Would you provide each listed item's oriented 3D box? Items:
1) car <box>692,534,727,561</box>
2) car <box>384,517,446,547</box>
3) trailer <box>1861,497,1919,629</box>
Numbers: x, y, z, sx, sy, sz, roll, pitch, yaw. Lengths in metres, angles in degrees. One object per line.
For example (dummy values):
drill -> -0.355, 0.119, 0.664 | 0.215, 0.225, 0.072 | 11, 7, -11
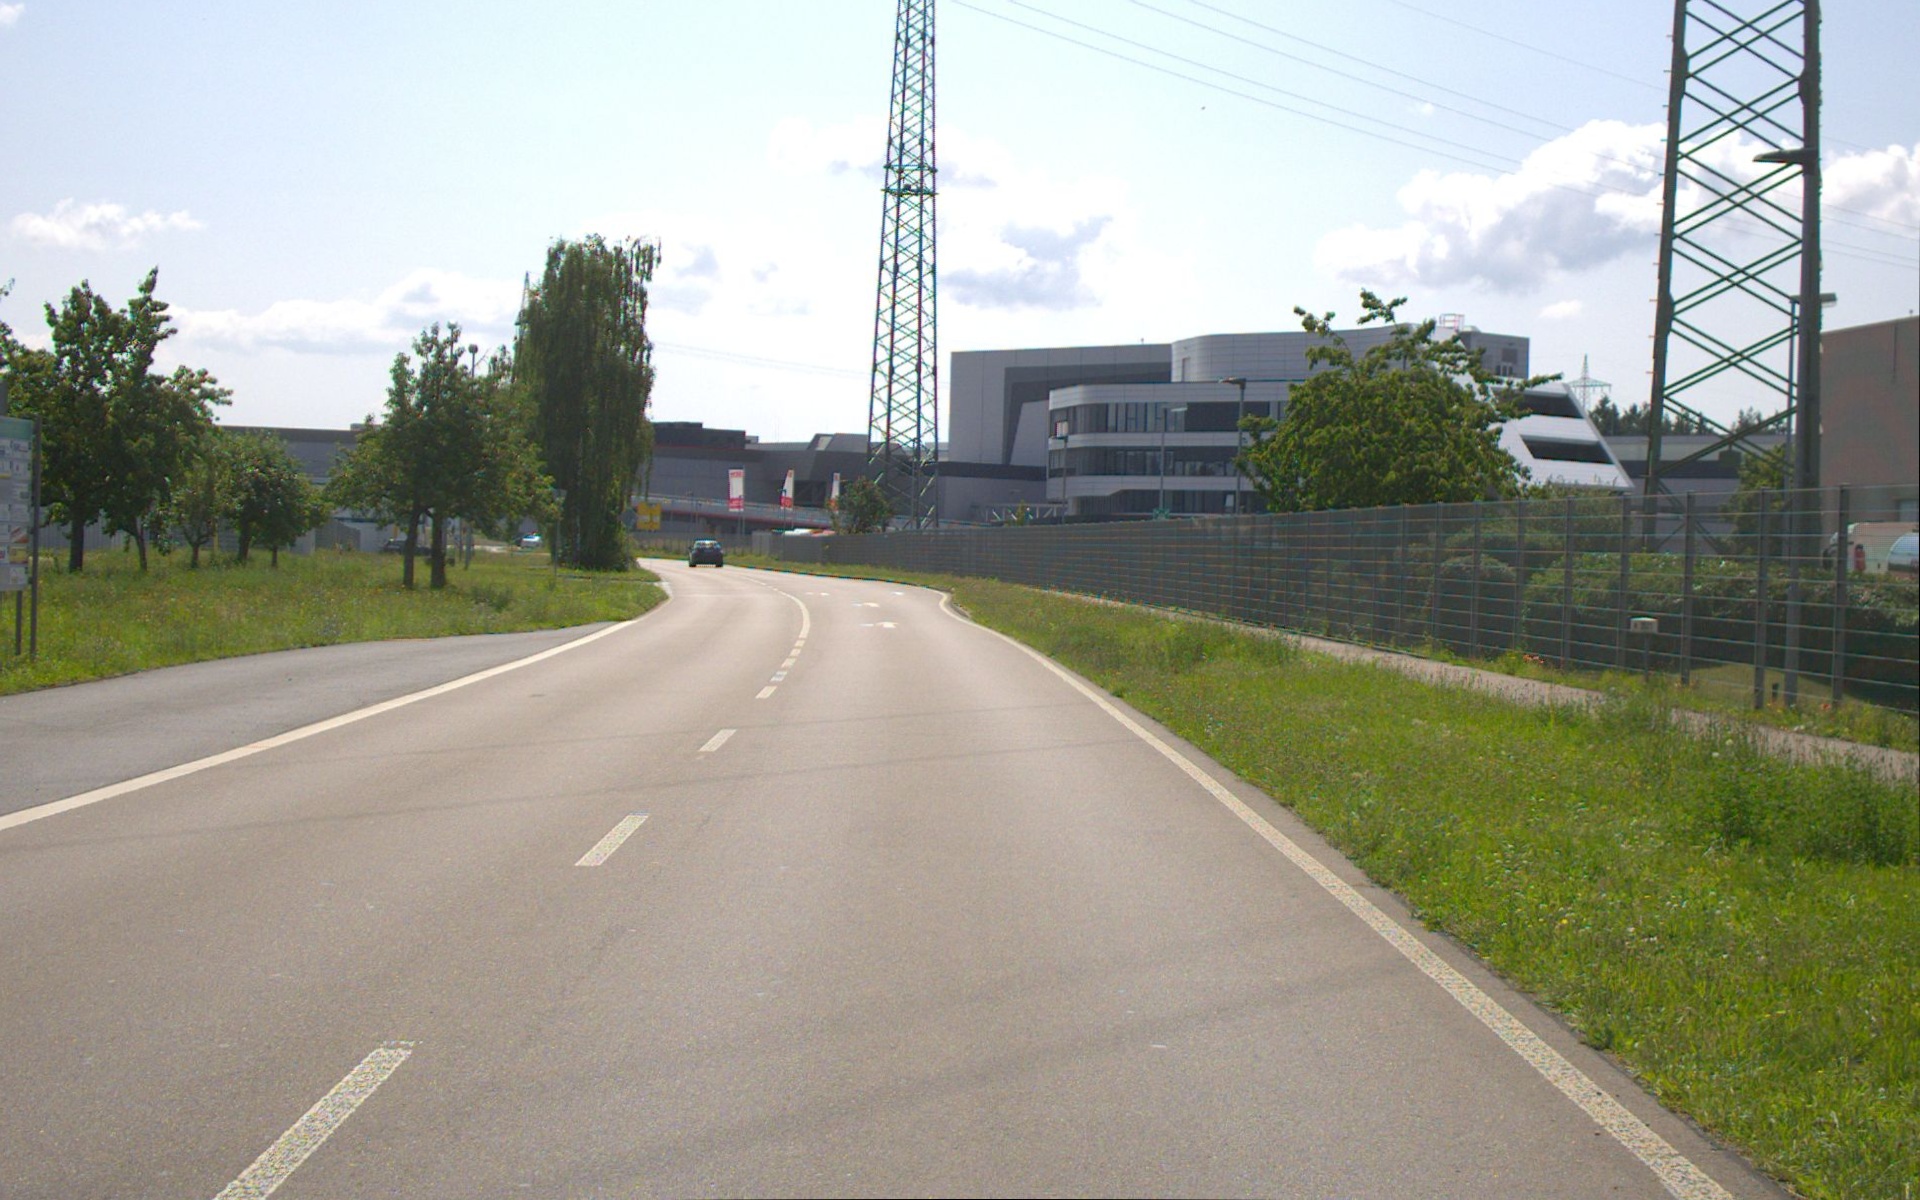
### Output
car -> -14.571, -3.037, 199.993 | 2.012, 1.503, 4.001 | 0, 1, -4
car -> -36.546, -4.556, 230.458 | 3.986, 1.569, 2.000 | 5, -2, -9
trailer -> 29.184, -0.975, 95.387 | 3.589, 3.722, 12.241 | 1, 1, -8
